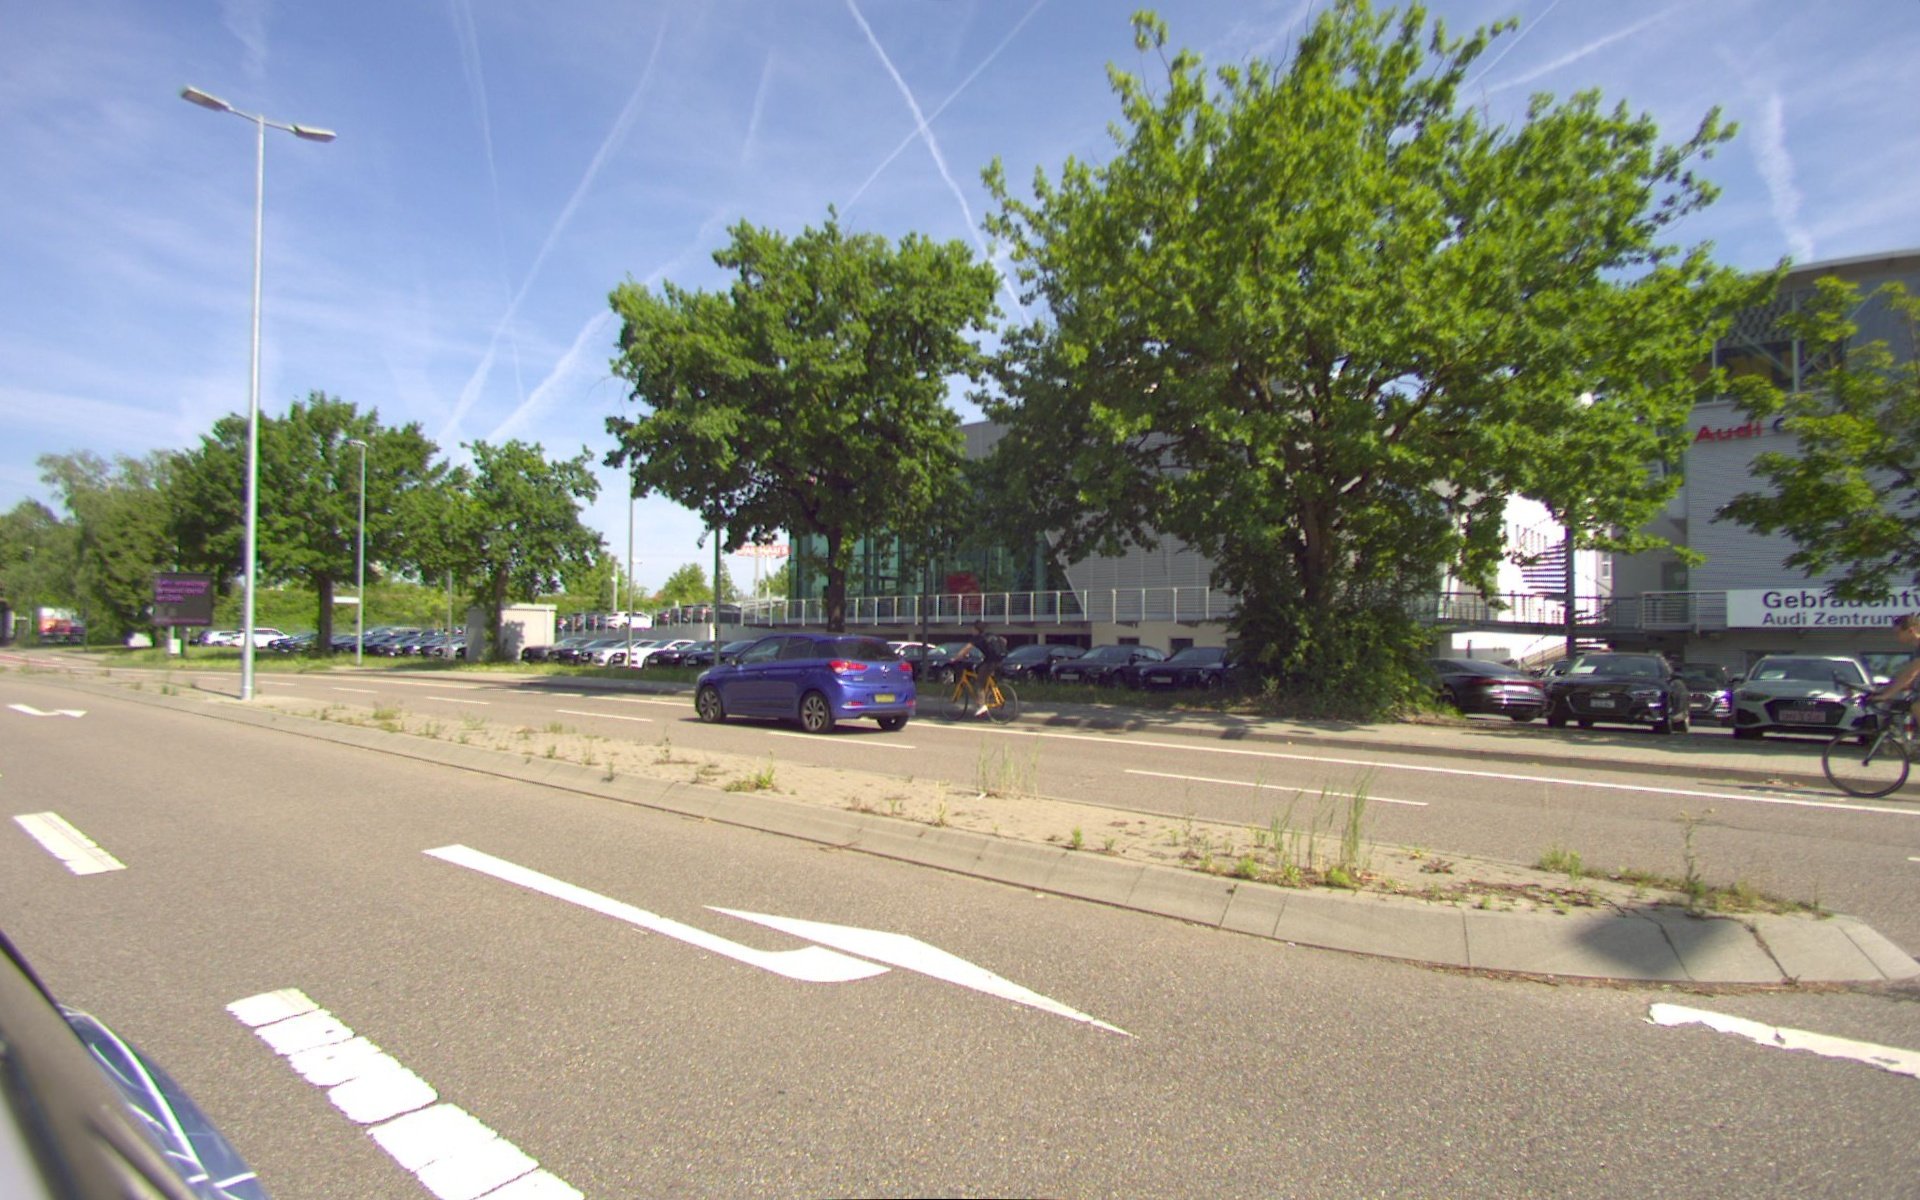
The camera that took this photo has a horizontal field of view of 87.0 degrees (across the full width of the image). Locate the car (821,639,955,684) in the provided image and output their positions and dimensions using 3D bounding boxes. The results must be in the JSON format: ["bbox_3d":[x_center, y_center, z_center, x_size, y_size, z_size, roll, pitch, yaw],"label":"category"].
[{"bbox_3d":[-2.157,1.925,31.384,1.689,1.204,4.142,-2,-6,42],"label":"car"}]

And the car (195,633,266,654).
[{"bbox_3d":[-56.667,3.368,78.615,1.689,1.389,4.142,-2,-6,42],"label":"car"}]

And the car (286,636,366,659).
[{"bbox_3d":[-42.054,3.165,67.237,1.689,1.333,4.142,-2,-6,42],"label":"car"}]

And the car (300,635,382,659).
[{"bbox_3d":[-40.084,3.078,65.628,1.689,1.333,4.142,-2,-6,42],"label":"car"}]

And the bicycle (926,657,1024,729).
[{"bbox_3d":[0.241,1.589,17.526,1.770,1.159,0.565,-2,-5,44],"label":"bicycle"}]

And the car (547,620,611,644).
[{"bbox_3d":[-28.637,2.434,76.187,1.689,1.511,4.142,-2,-6,42],"label":"car"}]

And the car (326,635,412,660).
[{"bbox_3d":[-36.228,2.952,62.106,1.689,1.333,4.142,-2,-6,42],"label":"car"}]

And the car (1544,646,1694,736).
[{"bbox_3d":[11.872,1.630,18.140,1.807,1.413,3.984,-2,-6,39],"label":"car"}]

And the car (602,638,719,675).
[{"bbox_3d":[-11.810,2.258,40.083,1.689,1.265,4.142,-2,-6,42],"label":"car"}]

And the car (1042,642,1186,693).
[{"bbox_3d":[4.059,1.773,26.179,1.694,1.143,4.142,-2,-6,42],"label":"car"}]

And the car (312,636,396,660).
[{"bbox_3d":[-38.150,3.032,63.757,1.689,1.333,4.142,-2,-6,42],"label":"car"}]

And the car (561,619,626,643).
[{"bbox_3d":[-26.963,2.337,74.627,1.689,1.511,4.142,-2,-6,42],"label":"car"}]

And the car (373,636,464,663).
[{"bbox_3d":[-30.243,2.796,56.609,1.689,1.333,4.142,-2,-6,42],"label":"car"}]

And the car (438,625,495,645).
[{"bbox_3d":[-43.348,3.123,88.969,1.689,1.511,4.142,-2,-6,42],"label":"car"}]

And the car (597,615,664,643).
[{"bbox_3d":[-23.188,2.055,71.374,1.689,1.745,4.142,-2,-6,42],"label":"car"}]

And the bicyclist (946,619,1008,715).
[{"bbox_3d":[0.285,1.154,17.511,0.910,1.609,0.570,-2,-5,44],"label":"bicyclist"}]

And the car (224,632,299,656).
[{"bbox_3d":[-50.747,3.212,73.567,1.689,1.511,4.142,-2,-6,42],"label":"car"}]

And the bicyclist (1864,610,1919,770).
[{"bbox_3d":[9.345,0.849,9.557,1.143,1.494,0.564,-2,-3,44],"label":"bicyclist"}]

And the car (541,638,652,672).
[{"bbox_3d":[-15.532,2.364,43.426,1.689,1.256,4.142,-2,-6,42],"label":"car"}]

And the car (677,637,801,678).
[{"bbox_3d":[-7.908,2.097,36.461,1.689,1.269,4.142,-2,-6,42],"label":"car"}]

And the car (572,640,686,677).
[{"bbox_3d":[-13.577,2.412,41.711,1.689,1.335,4.142,-2,-6,42],"label":"car"}]

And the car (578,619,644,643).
[{"bbox_3d":[-25.193,2.267,73.108,1.689,1.511,4.142,-2,-6,42],"label":"car"}]

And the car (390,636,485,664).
[{"bbox_3d":[-28.144,2.703,54.614,1.689,1.333,4.142,-2,-6,42],"label":"car"}]

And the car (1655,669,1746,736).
[{"bbox_3d":[19.085,2.563,26.026,1.688,1.484,3.779,-2,-3,39],"label":"car"}]

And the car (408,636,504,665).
[{"bbox_3d":[-26.431,2.658,53.212,1.689,1.333,4.142,-2,-6,42],"label":"car"}]

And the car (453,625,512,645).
[{"bbox_3d":[-40.786,3.000,86.500,1.689,1.511,4.142,-2,-6,42],"label":"car"}]

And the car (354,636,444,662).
[{"bbox_3d":[-32.232,2.840,58.248,1.689,1.333,4.142,-2,-6,42],"label":"car"}]

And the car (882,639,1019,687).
[{"bbox_3d":[-0.208,1.880,29.824,1.689,1.256,4.142,-2,-6,42],"label":"car"}]

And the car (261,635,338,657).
[{"bbox_3d":[-46.084,3.219,70.661,1.689,1.333,4.142,-2,-6,42],"label":"car"}]

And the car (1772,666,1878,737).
[{"bbox_3d":[20.881,2.384,24.487,1.803,1.484,3.778,-2,-3,40],"label":"car"}]

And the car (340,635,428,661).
[{"bbox_3d":[-34.089,2.883,59.970,1.689,1.333,4.142,-2,-6,42],"label":"car"}]

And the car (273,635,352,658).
[{"bbox_3d":[-43.996,3.193,68.810,1.689,1.333,4.142,-2,-6,41],"label":"car"}]

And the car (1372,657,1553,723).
[{"bbox_3d":[11.300,1.992,23.075,1.662,1.343,3.848,1,-3,-11],"label":"car"}]

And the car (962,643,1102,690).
[{"bbox_3d":[2.069,1.873,28.090,1.719,1.131,4.142,-2,-6,42],"label":"car"}]

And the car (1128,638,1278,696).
[{"bbox_3d":[5.939,1.652,24.462,1.796,1.236,4.142,-2,-6,42],"label":"car"}]

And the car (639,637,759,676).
[{"bbox_3d":[-9.815,2.150,38.285,1.689,1.309,4.142,-2,-6,42],"label":"car"}]

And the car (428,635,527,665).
[{"bbox_3d":[-24.517,2.580,51.537,1.689,1.333,4.142,-2,-6,42],"label":"car"}]

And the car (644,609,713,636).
[{"bbox_3d":[-18.971,1.530,68.354,1.689,1.511,4.142,-2,-6,42],"label":"car"}]

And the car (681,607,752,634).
[{"bbox_3d":[-15.412,1.334,64.274,1.689,1.416,4.142,-2,-6,42],"label":"car"}]

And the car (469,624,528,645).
[{"bbox_3d":[-38.710,2.940,85.020,1.689,1.511,4.142,-2,-6,42],"label":"car"}]

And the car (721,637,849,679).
[{"bbox_3d":[-5.926,2.008,34.633,1.689,1.264,4.142,-2,-6,42],"label":"car"}]

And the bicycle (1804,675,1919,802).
[{"bbox_3d":[9.288,1.319,9.595,1.925,1.159,0.565,-2,-3,44],"label":"bicycle"}]

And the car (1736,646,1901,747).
[{"bbox_3d":[13.817,1.544,16.373,1.801,1.405,4.172,-2,-6,40],"label":"car"}]

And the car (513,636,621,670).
[{"bbox_3d":[-17.428,2.381,45.007,1.689,1.333,4.142,-2,-6,42],"label":"car"}]

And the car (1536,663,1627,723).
[{"bbox_3d":[17.149,2.507,27.854,1.688,1.448,3.780,-2,-3,38],"label":"car"}]

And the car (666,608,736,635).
[{"bbox_3d":[-16.971,1.431,66.492,1.689,1.511,4.142,-2,-6,42],"label":"car"}]

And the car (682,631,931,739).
[{"bbox_3d":[-2.446,1.259,15.647,3.868,1.449,1.710,-2,-5,42],"label":"car"}]

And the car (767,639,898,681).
[{"bbox_3d":[-4.083,1.972,32.905,1.689,1.215,4.142,-2,-6,42],"label":"car"}]
